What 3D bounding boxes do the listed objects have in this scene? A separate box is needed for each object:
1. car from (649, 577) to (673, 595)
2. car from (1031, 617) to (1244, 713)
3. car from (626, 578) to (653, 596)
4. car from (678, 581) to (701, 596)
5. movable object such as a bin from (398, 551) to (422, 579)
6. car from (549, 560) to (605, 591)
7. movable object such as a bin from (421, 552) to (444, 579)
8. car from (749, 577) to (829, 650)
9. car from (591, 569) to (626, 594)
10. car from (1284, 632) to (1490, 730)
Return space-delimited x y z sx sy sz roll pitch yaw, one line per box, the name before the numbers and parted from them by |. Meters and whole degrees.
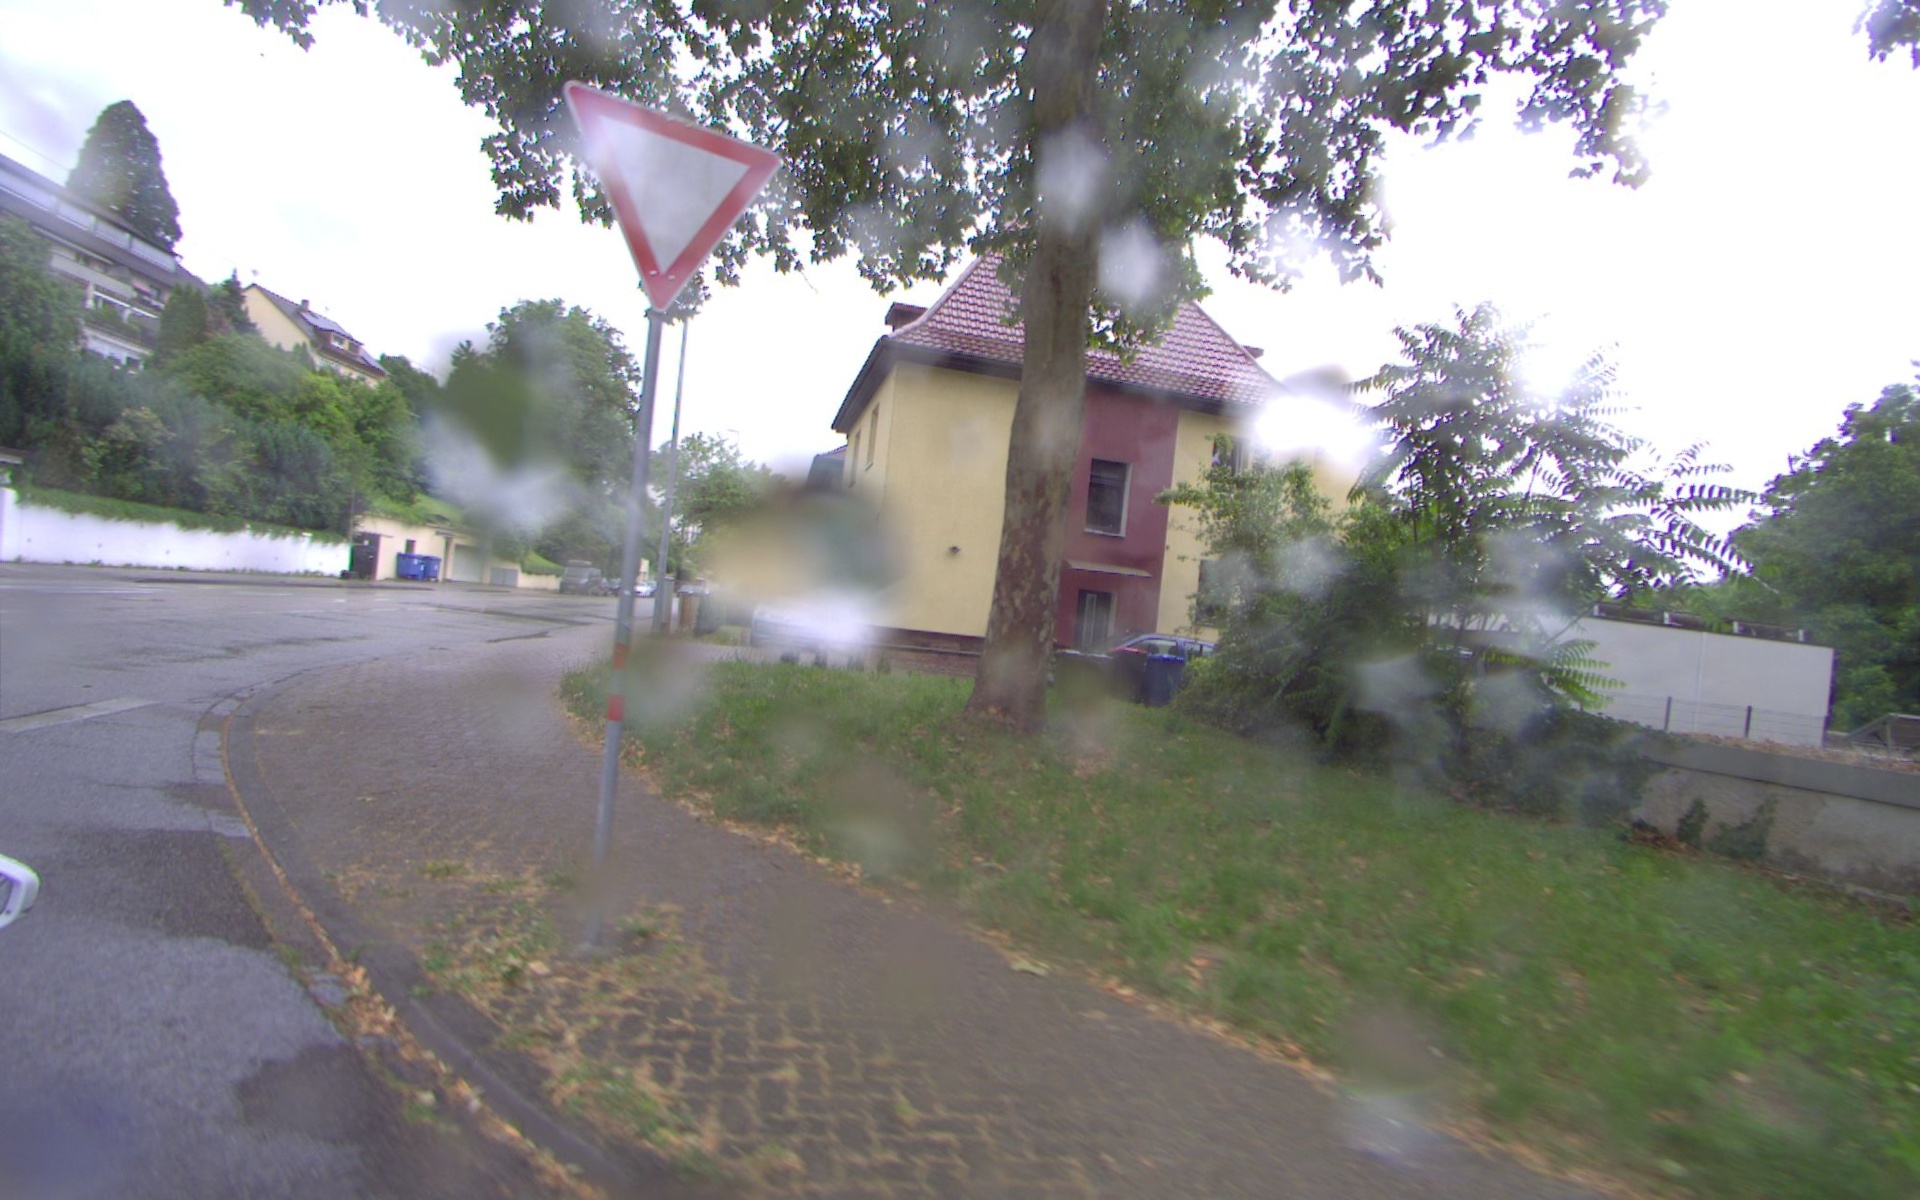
car | -29.800 -1.444 100.449 1.707 1.571 3.809 6 0 -9
car | 3.194 1.171 18.312 3.398 1.315 1.541 6 1 -13
car | -28.878 -1.177 90.847 1.687 1.362 3.673 6 0 -9
car | -31.798 -1.328 118.335 1.688 1.571 3.812 6 0 -4
movable object such as a bin | -28.081 -1.781 51.380 0.700 1.353 0.833 6 1 -4
car | -26.260 -1.657 69.135 2.263 1.775 5.172 6 0 -7
movable object such as a bin | -28.127 -1.833 53.666 0.700 1.353 0.833 6 1 -4
car | -4.079 0.271 24.121 1.622 1.465 3.542 6 0 -9
car | -27.671 -1.468 79.315 1.793 1.703 3.992 6 0 -9
car | 8.321 1.574 19.677 3.374 1.490 1.487 6 1 -13
